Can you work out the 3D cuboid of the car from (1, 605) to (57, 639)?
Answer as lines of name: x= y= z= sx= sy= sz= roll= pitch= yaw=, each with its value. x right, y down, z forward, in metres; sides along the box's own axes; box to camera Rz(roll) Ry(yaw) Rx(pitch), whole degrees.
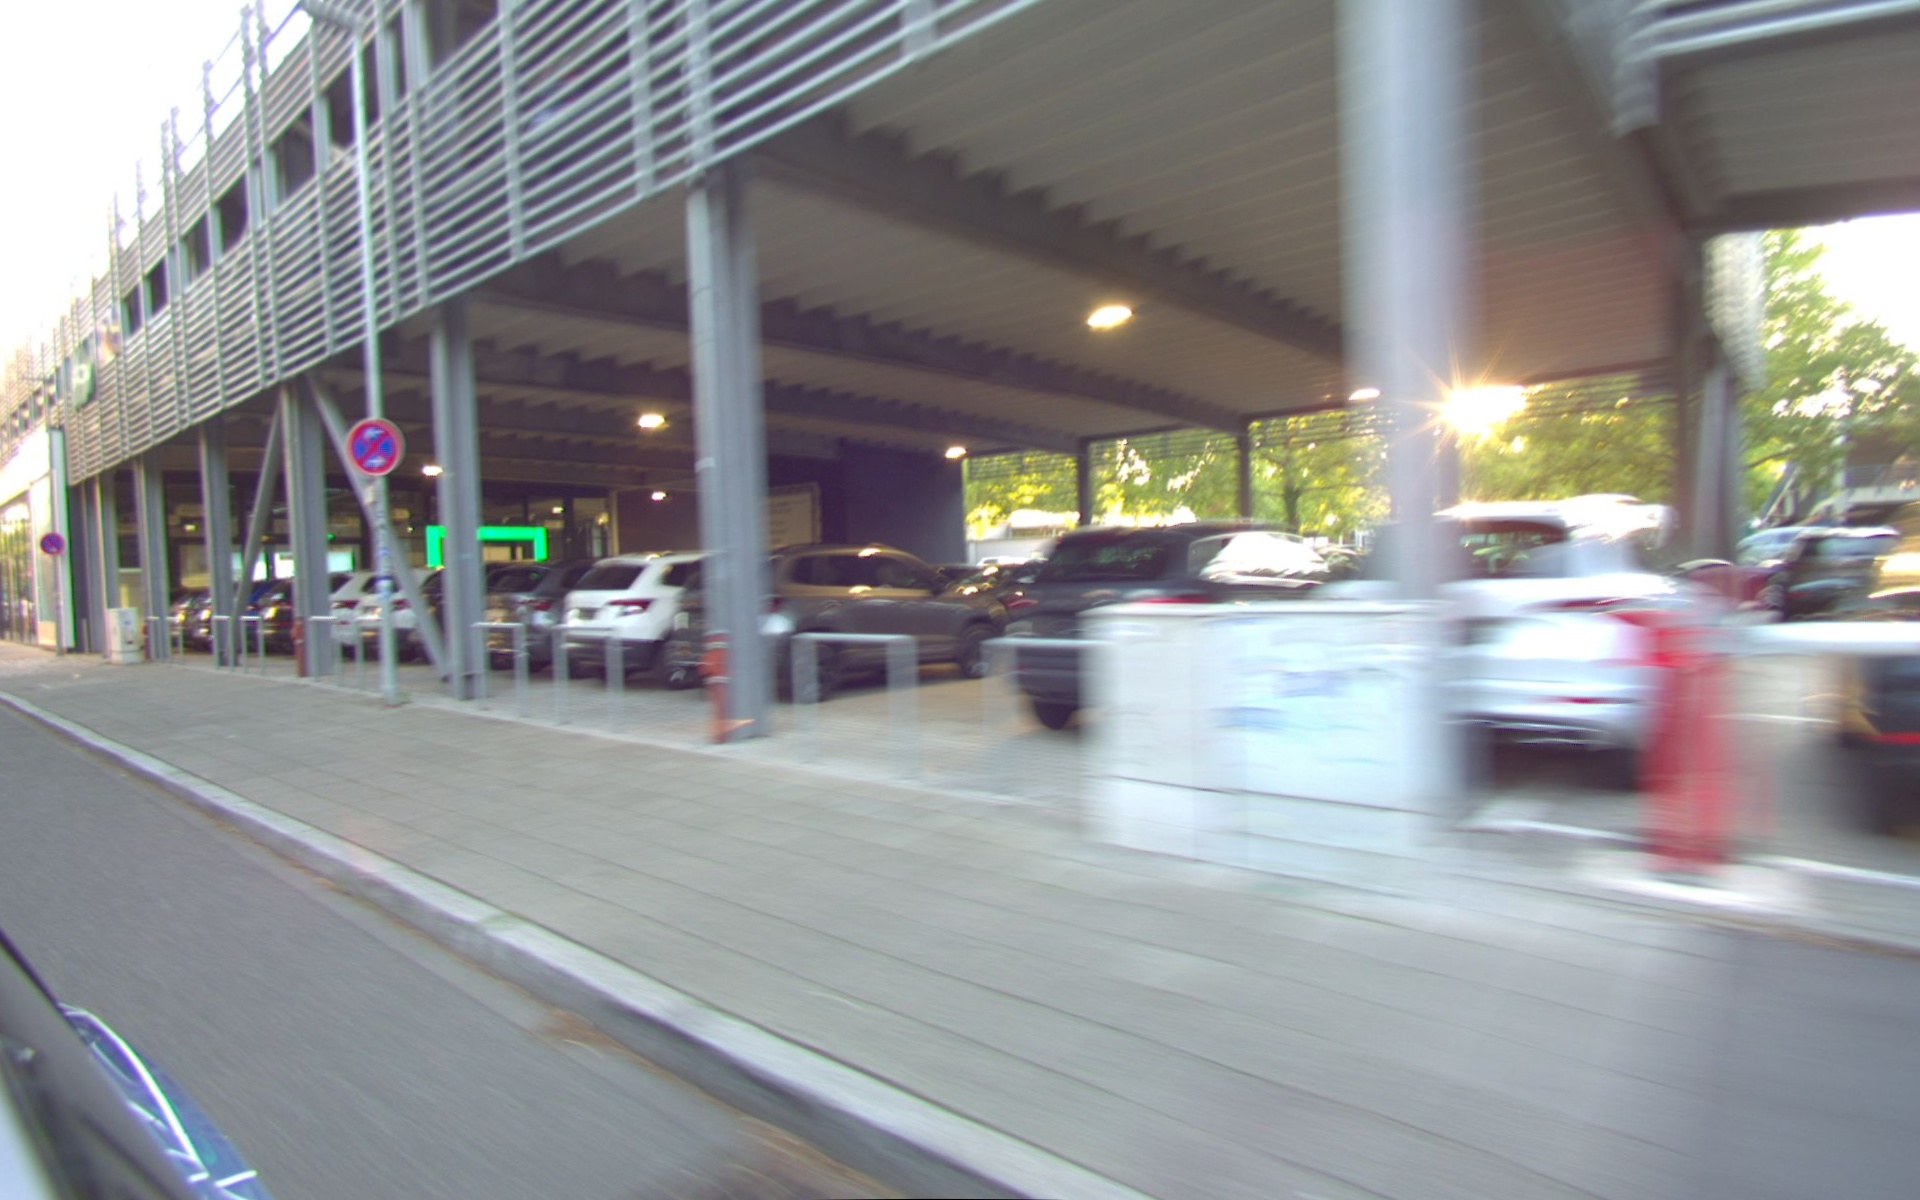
car: x=-46.164 y=1.092 z=50.177 sx=3.874 sy=1.534 sz=1.577 roll=-1 pitch=1 yaw=41

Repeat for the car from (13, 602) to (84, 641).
car: x=-38.357 y=0.896 z=42.560 sx=4.190 sy=1.526 sz=1.680 roll=-1 pitch=1 yaw=41

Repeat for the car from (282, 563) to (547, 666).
car: x=-10.233 y=0.210 z=19.201 sx=1.860 sy=1.696 sz=3.983 roll=-2 pitch=1 yaw=42

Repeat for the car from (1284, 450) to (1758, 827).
car: x=3.920 y=0.116 z=6.693 sx=1.860 sy=1.696 sz=4.037 roll=-2 pitch=1 yaw=42

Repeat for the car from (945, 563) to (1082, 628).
car: x=1.623 y=-0.158 z=29.476 sx=1.860 sy=1.696 sz=3.982 roll=-2 pitch=1 yaw=42

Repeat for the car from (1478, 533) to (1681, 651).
car: x=9.350 y=-0.168 z=15.120 sx=1.830 sy=1.506 sz=4.185 roll=-2 pitch=1 yaw=42

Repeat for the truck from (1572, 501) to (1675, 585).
truck: x=23.248 y=-1.972 z=35.308 sx=2.441 sy=2.587 sz=6.852 roll=-1 pitch=2 yaw=38

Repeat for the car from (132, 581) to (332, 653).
car: x=-19.450 y=0.417 z=27.162 sx=1.860 sy=1.696 sz=4.000 roll=-2 pitch=1 yaw=42

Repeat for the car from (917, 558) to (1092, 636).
car: x=1.091 y=-0.101 z=23.008 sx=1.860 sy=1.570 sz=3.945 roll=-2 pitch=1 yaw=42

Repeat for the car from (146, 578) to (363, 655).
car: x=-17.713 y=0.363 z=25.547 sx=1.860 sy=1.696 sz=4.122 roll=-2 pitch=1 yaw=42

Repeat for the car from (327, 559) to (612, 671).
car: x=-8.461 y=0.193 z=17.702 sx=1.860 sy=1.696 sz=4.041 roll=-2 pitch=1 yaw=42

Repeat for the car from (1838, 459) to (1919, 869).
car: x=5.616 y=0.192 z=4.921 sx=1.858 sy=1.597 sz=3.948 roll=1 pitch=3 yaw=39

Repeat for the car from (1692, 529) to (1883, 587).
car: x=25.195 y=-1.261 z=31.047 sx=4.382 sy=1.585 sz=2.275 roll=-1 pitch=2 yaw=38

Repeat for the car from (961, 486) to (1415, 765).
car: x=2.072 y=0.098 z=8.302 sx=1.860 sy=1.696 sz=4.044 roll=-2 pitch=1 yaw=42

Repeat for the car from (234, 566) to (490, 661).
car: x=-12.116 y=0.214 z=20.707 sx=1.860 sy=1.696 sz=4.106 roll=-2 pitch=1 yaw=42

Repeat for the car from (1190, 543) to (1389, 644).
car: x=5.958 y=-0.158 z=18.037 sx=1.860 sy=1.591 sz=4.025 roll=-2 pitch=1 yaw=42

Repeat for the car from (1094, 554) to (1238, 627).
car: x=5.412 y=-0.280 z=26.272 sx=1.860 sy=1.696 sz=3.982 roll=-2 pitch=1 yaw=42

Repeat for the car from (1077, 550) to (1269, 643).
car: x=4.208 y=-0.115 z=19.588 sx=1.860 sy=1.608 sz=3.993 roll=-2 pitch=1 yaw=42

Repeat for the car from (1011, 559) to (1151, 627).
car: x=3.401 y=-0.216 z=28.023 sx=1.860 sy=1.696 sz=3.982 roll=-2 pitch=1 yaw=42

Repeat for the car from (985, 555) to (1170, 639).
car: x=2.537 y=-0.106 z=21.194 sx=1.860 sy=1.570 sz=3.945 roll=-2 pitch=1 yaw=42

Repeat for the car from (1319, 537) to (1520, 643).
car: x=7.613 y=-0.200 z=16.578 sx=1.860 sy=1.506 sz=4.009 roll=-2 pitch=1 yaw=42

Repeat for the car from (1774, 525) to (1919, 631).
car: x=14.989 y=-0.390 z=16.973 sx=1.860 sy=1.565 sz=3.939 roll=-2 pitch=1 yaw=42

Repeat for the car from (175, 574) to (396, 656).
car: x=-15.912 y=0.305 z=24.029 sx=1.860 sy=1.696 sz=3.993 roll=-2 pitch=1 yaw=42

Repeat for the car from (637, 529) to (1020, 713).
car: x=-1.327 y=0.138 z=11.474 sx=1.860 sy=1.696 sz=4.021 roll=-2 pitch=1 yaw=42

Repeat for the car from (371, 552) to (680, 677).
car: x=-6.762 y=0.149 z=16.069 sx=1.860 sy=1.696 sz=4.060 roll=-2 pitch=1 yaw=42

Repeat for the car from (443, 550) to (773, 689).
car: x=-4.924 y=0.184 z=14.577 sx=1.860 sy=1.696 sz=4.060 roll=-2 pitch=1 yaw=42

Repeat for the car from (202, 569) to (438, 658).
car: x=-13.964 y=0.244 z=22.250 sx=1.860 sy=1.696 sz=3.993 roll=-2 pitch=1 yaw=42

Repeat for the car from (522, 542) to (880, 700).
car: x=-3.157 y=0.167 z=12.977 sx=1.860 sy=1.696 sz=4.060 roll=-2 pitch=1 yaw=42

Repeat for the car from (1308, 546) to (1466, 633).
car: x=9.274 y=-0.269 z=21.812 sx=1.860 sy=1.696 sz=4.105 roll=-2 pitch=1 yaw=42
